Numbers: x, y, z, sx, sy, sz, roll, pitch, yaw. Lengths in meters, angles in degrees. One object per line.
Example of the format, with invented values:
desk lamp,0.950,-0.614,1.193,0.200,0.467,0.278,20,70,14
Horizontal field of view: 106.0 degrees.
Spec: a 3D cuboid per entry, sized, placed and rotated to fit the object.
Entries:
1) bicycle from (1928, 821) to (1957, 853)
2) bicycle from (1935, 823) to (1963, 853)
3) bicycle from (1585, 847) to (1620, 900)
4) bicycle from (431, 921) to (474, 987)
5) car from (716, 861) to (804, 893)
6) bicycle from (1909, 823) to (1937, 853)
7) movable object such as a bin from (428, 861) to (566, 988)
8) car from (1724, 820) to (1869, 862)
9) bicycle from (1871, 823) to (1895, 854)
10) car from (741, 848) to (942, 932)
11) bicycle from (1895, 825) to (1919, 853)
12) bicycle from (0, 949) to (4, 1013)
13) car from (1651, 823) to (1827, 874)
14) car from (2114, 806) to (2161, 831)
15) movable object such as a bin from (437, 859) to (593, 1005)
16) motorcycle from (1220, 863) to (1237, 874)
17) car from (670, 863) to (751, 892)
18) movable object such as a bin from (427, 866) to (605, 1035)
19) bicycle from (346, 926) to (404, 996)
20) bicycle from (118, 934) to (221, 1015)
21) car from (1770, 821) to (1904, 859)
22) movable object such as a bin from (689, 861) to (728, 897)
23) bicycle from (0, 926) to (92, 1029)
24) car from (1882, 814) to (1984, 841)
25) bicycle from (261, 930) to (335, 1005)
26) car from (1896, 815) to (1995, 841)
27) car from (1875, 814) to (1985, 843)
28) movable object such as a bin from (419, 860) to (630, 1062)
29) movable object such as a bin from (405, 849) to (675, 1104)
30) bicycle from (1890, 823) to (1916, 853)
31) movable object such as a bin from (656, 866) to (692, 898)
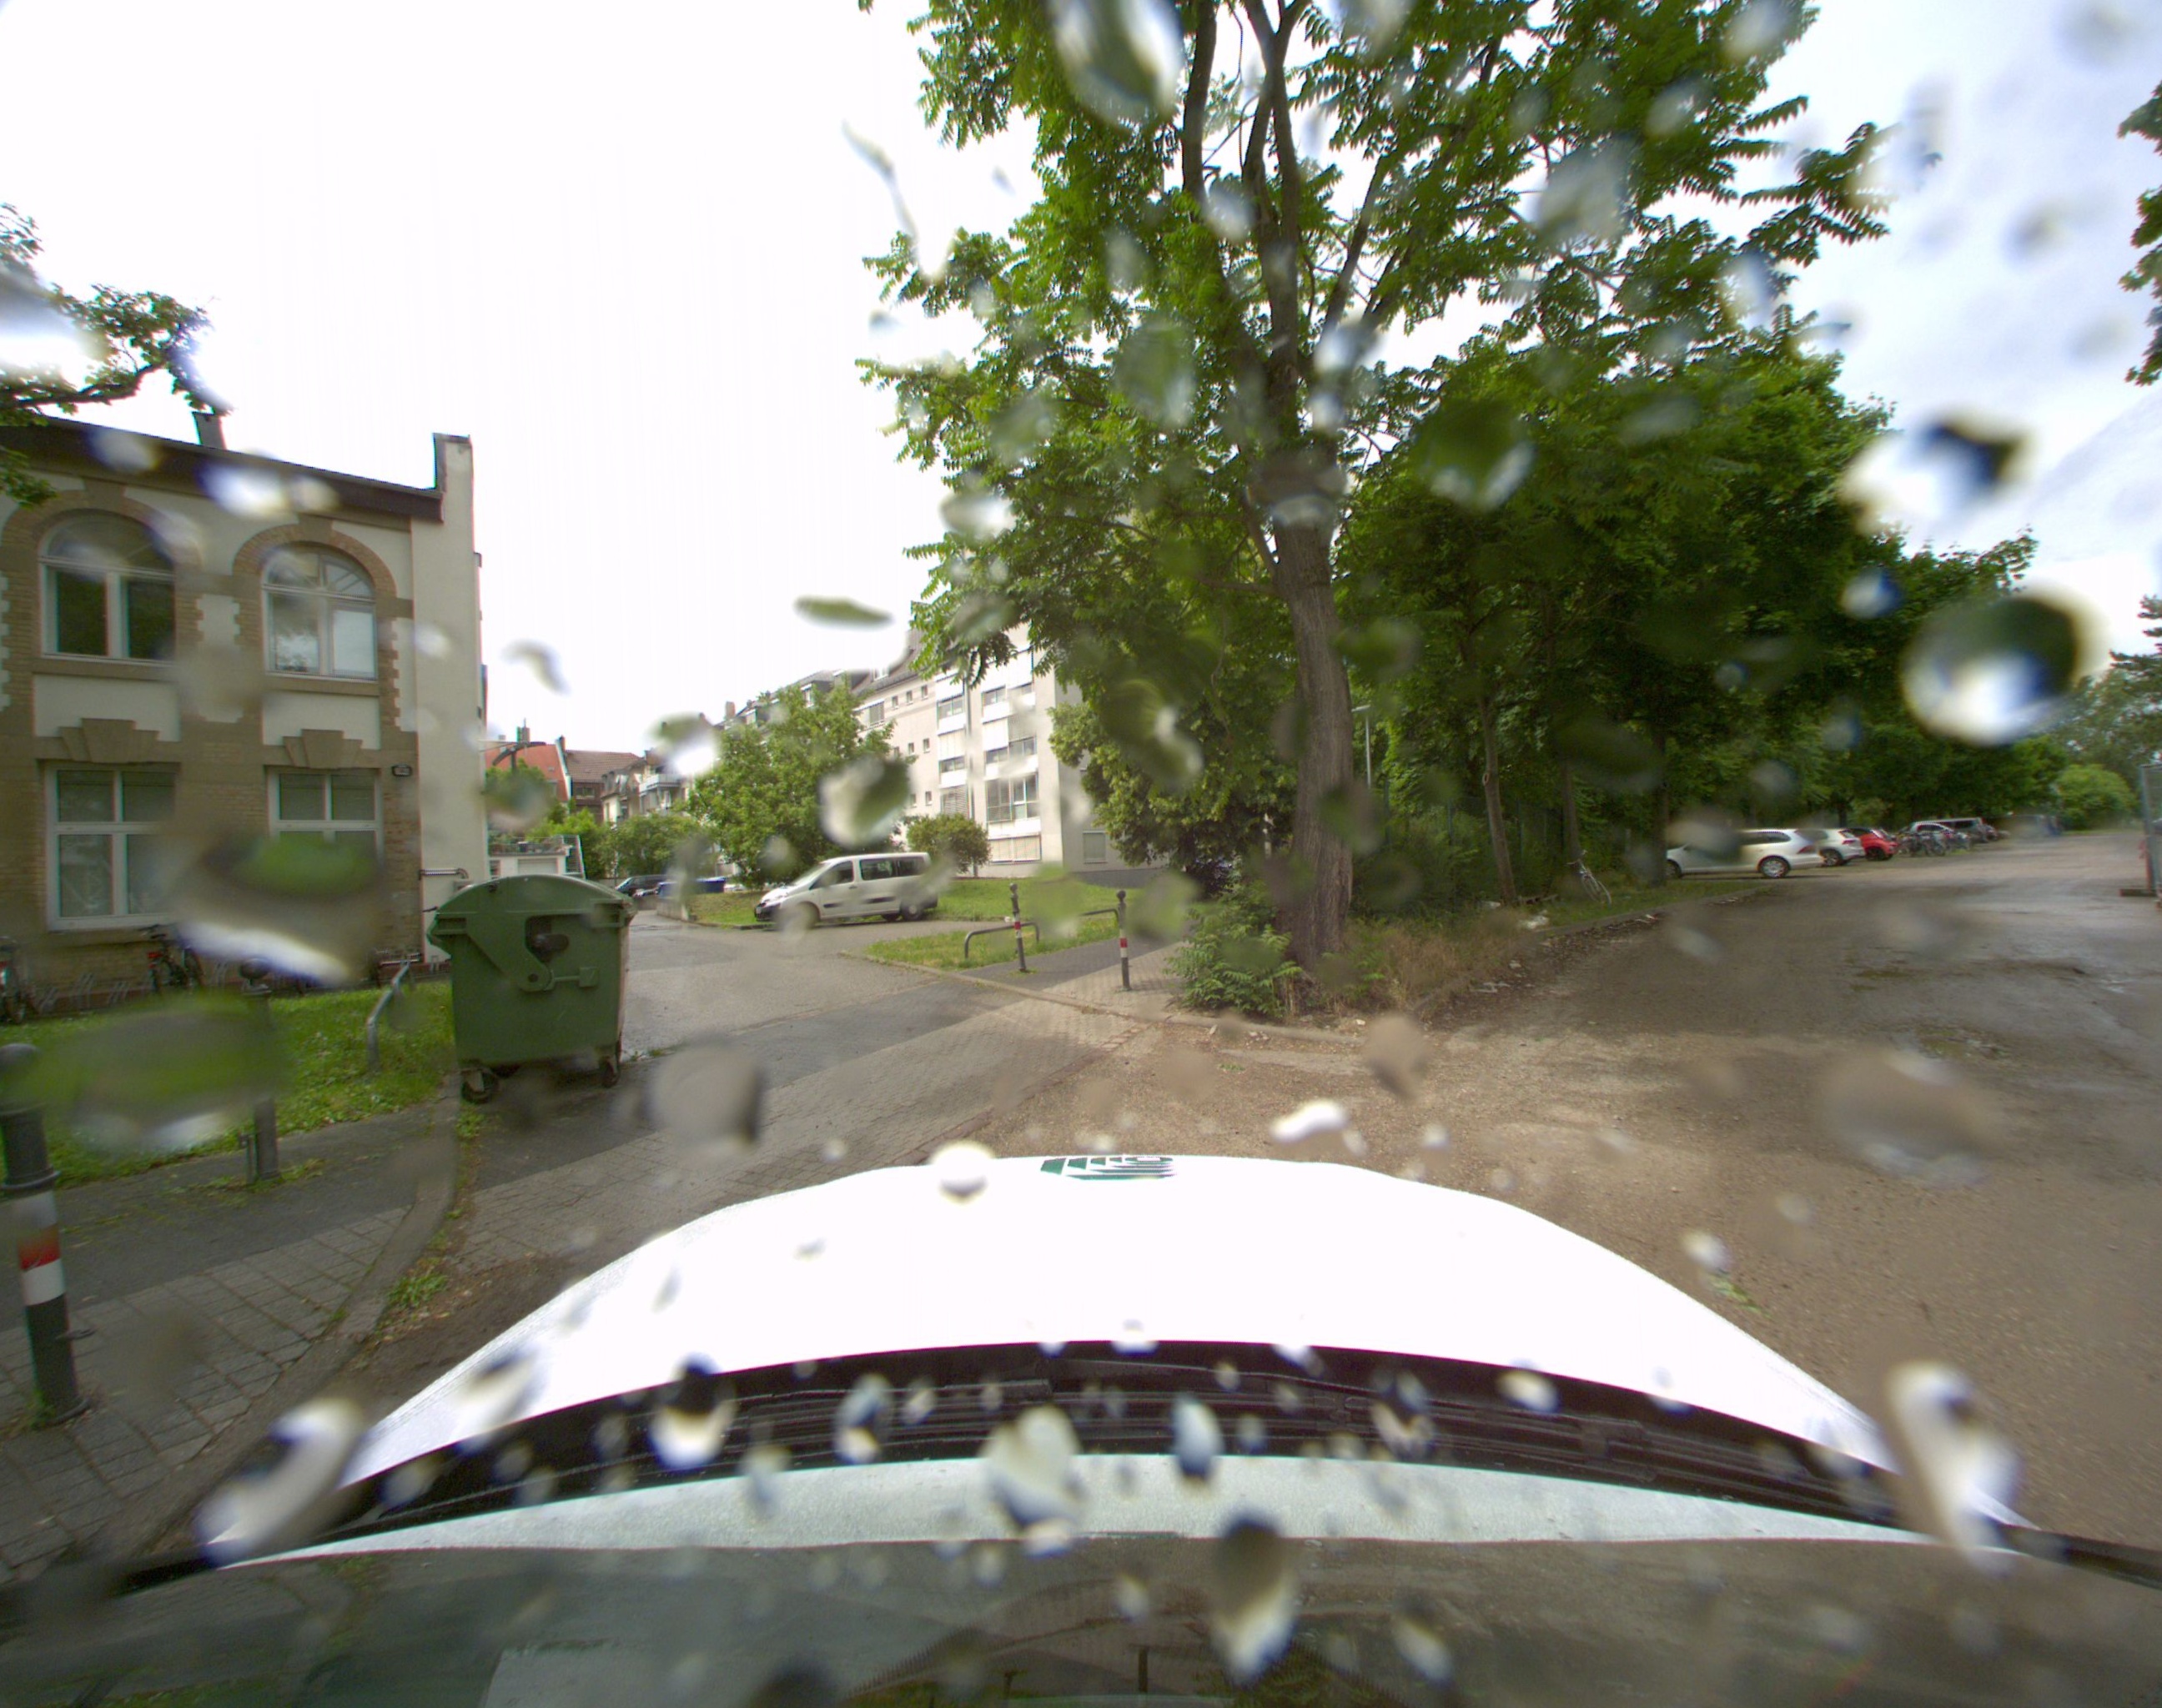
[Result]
bicycle,37.307,-0.714,35.283,0.590,1.308,2.685,-2,-1,41
bicycle,40.509,-0.731,38.034,0.590,1.308,2.685,-2,-1,41
bicycle,9.500,0.340,14.861,0.462,0.879,1.580,-2,1,31
bicycle,-9.425,1.461,12.248,0.455,0.799,2.034,0,-1,-36
car,-17.380,1.238,44.154,4.020,1.354,1.770,-5,0,-38
bicycle,36.849,-0.688,35.665,0.590,1.267,2.685,-2,-1,41
movable object such as a bin,-7.534,0.848,10.527,1.370,1.471,1.350,0,-1,-37
car,27.026,-0.454,30.861,3.996,1.409,1.994,-2,-1,43
bicycle,35.912,-0.667,36.479,0.590,1.308,2.685,-2,-1,41
car,-6.595,0.921,22.665,4.972,2.014,1.979,-2,-1,-34
bicycle,39.432,-0.701,38.892,0.590,1.308,2.685,-2,-1,41
bicycle,-13.237,1.583,9.361,0.455,0.799,2.034,0,-1,-36
car,20.005,-0.125,24.844,3.996,1.409,1.994,-2,-1,43
car,76.261,-2.539,57.694,1.847,1.600,3.690,0,-2,-36
movable object such as a bin,-6.427,0.812,9.259,1.370,1.471,1.350,0,-1,-37
motorcycle,10.945,1.073,60.318,1.451,0.771,0.327,0,-1,-38
car,-22.953,1.442,50.533,4.134,1.455,1.811,-3,0,-41
movable object such as a bin,-5.633,0.872,8.137,1.370,1.471,1.337,0,-1,-37
bicycle,-10.164,1.499,11.762,0.455,0.799,2.034,0,-1,-36
bicycle,-11.670,1.499,10.479,0.455,0.799,2.034,0,-1,-36
car,31.663,-0.552,34.230,3.996,1.409,1.994,-2,-1,43
movable object such as a bin,-15.866,1.049,34.706,1.285,1.483,1.089,0,-1,-37
bicycle,-12.668,1.447,9.816,0.455,1.038,2.034,0,-1,-36
car,50.857,-1.560,48.674,1.991,1.409,4.002,0,-1,-37
bicycle,-10.722,1.516,11.199,0.455,0.799,2.034,0,-1,-36
car,53.125,-1.555,50.103,1.991,1.409,4.002,0,-1,-37
car,47.335,-1.375,45.477,1.991,1.409,4.002,0,-1,-37
movable object such as a bin,-4.759,0.806,6.986,1.370,1.471,1.448,0,-1,-37
movable object such as a bin,-3.820,0.720,5.770,1.420,1.471,1.543,0,-1,-37
bicycle,36.386,-0.688,36.066,0.590,1.308,2.685,-2,-1,41
movable object such as a bin,-16.976,1.156,33.947,1.183,1.317,1.043,0,-1,-37
